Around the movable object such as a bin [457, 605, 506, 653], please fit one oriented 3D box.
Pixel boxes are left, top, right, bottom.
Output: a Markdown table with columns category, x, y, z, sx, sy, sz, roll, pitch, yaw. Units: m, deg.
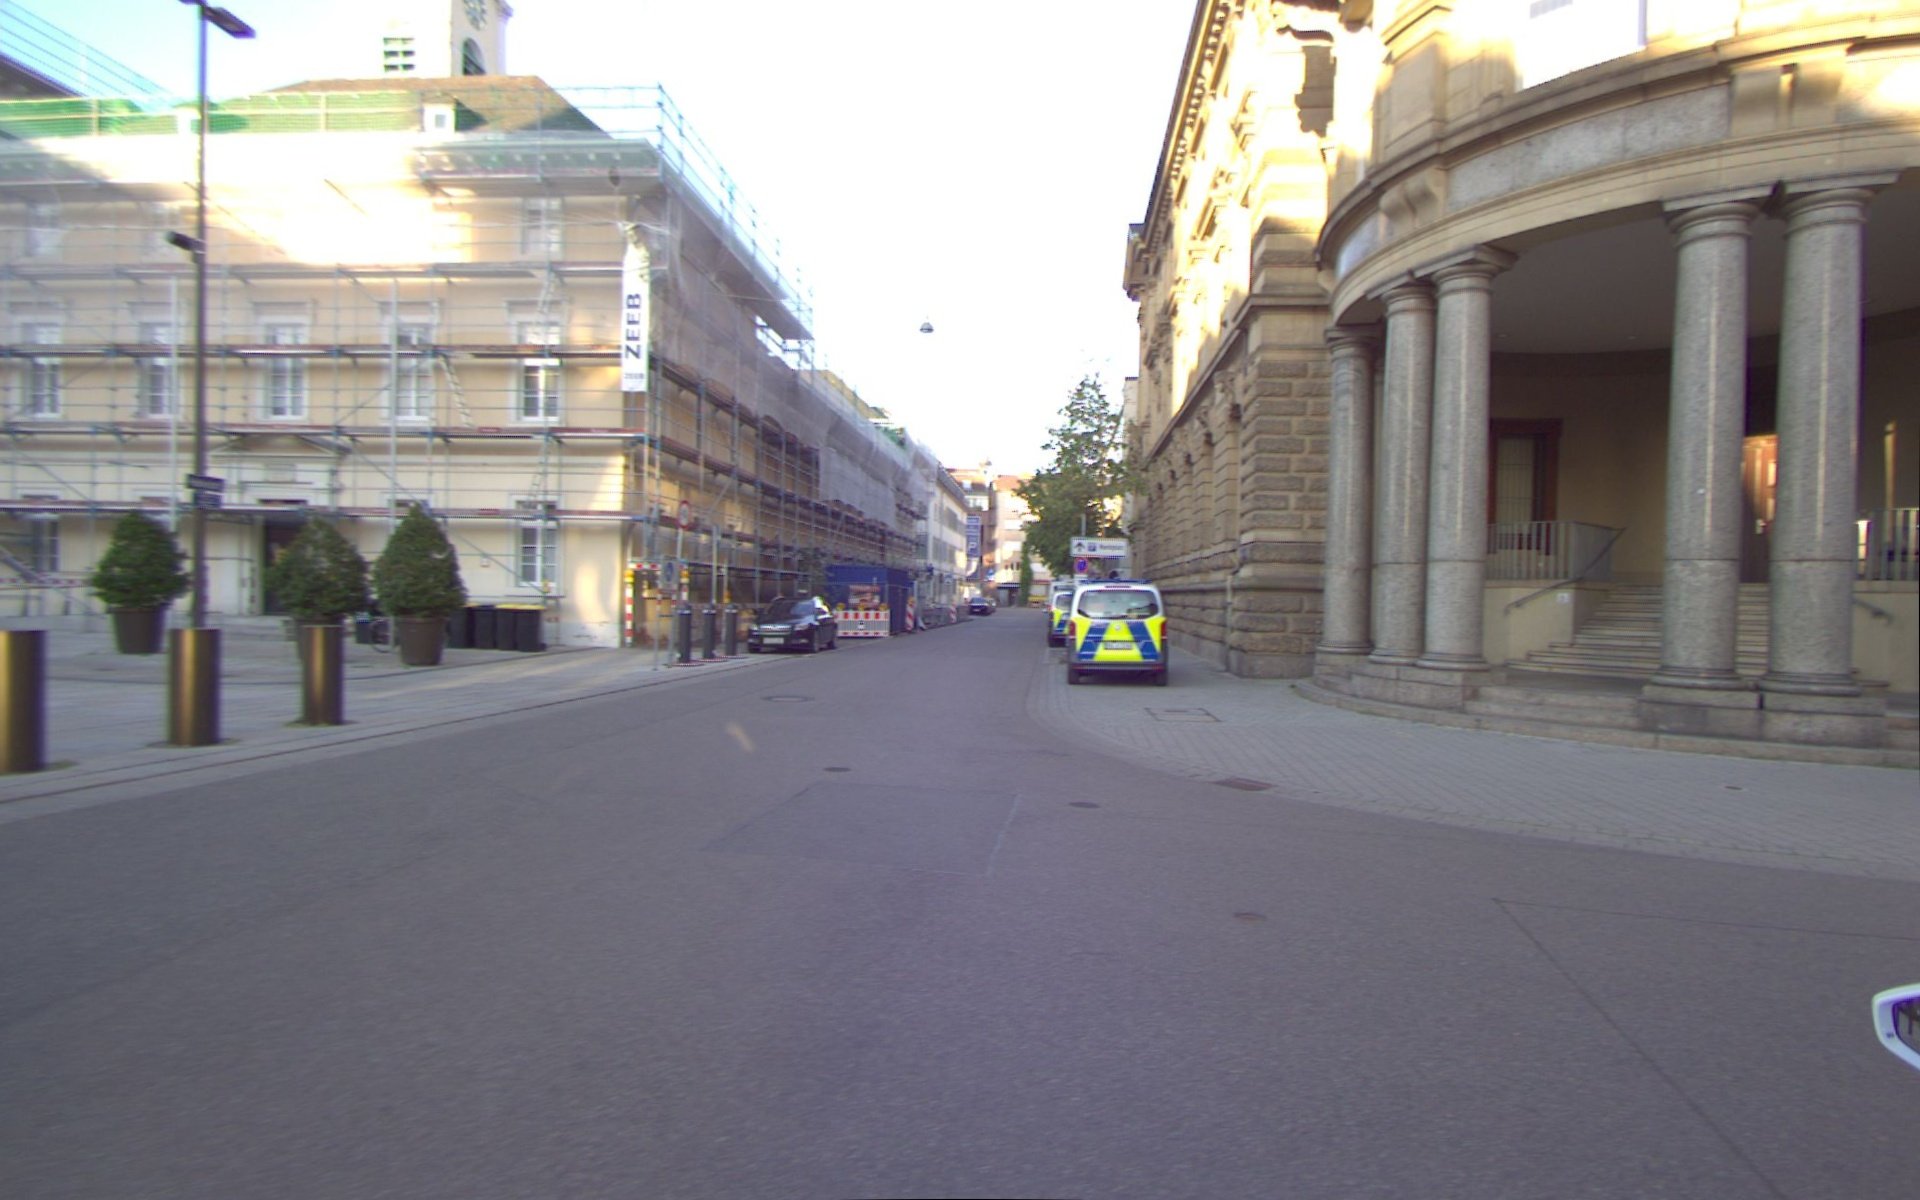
| category | x | y | z | sx | sy | sz | roll | pitch | yaw |
| --- | --- | --- | --- | --- | --- | --- | --- | --- | --- |
| movable object such as a bin | -11.368 | 0.684 | 23.887 | 0.707 | 1.092 | 0.812 | 1 | 0 | 9 |

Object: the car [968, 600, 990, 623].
| category | x | y | z | sx | sy | sz | roll | pitch | yaw |
| --- | --- | --- | --- | --- | --- | --- | --- | --- | --- |
| car | 1.765 | 1.030 | 93.682 | 1.961 | 1.996 | 4.000 | 1 | 0 | 0 |

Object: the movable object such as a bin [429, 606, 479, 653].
| category | x | y | z | sx | sy | sz | roll | pitch | yaw |
| --- | --- | --- | --- | --- | --- | --- | --- | --- | --- |
| movable object such as a bin | -12.093 | 0.696 | 24.024 | 0.707 | 1.092 | 0.812 | 1 | 0 | 9 |

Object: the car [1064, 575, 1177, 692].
| category | x | y | z | sx | sy | sz | roll | pitch | yaw |
| --- | --- | --- | --- | --- | --- | --- | --- | --- | --- |
| car | 3.189 | 0.584 | 19.755 | 1.959 | 2.040 | 4.002 | 1 | 0 | 10 |

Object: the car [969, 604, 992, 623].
| category | x | y | z | sx | sy | sz | roll | pitch | yaw |
| --- | --- | --- | --- | --- | --- | --- | --- | --- | --- |
| car | 1.793 | 1.189 | 89.509 | 1.960 | 1.627 | 4.086 | 2 | 0 | 1 |

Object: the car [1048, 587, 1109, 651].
| category | x | y | z | sx | sy | sz | roll | pitch | yaw |
| --- | --- | --- | --- | --- | --- | --- | --- | --- | --- |
| car | 4.111 | 0.617 | 34.924 | 1.959 | 2.040 | 4.002 | 1 | 0 | 7 |

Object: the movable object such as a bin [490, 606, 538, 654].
| category | x | y | z | sx | sy | sz | roll | pitch | yaw |
| --- | --- | --- | --- | --- | --- | --- | --- | --- | --- |
| movable object such as a bin | -10.564 | 0.701 | 23.819 | 0.707 | 1.092 | 0.812 | 1 | 0 | 9 |

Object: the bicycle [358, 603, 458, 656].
| category | x | y | z | sx | sy | sz | roll | pitch | yaw |
| --- | --- | --- | --- | --- | --- | --- | --- | --- | --- |
| bicycle | -12.231 | 0.654 | 22.288 | 1.820 | 1.126 | 0.633 | 1 | 0 | -13 |

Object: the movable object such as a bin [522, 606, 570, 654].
| category | x | y | z | sx | sy | sz | roll | pitch | yaw |
| --- | --- | --- | --- | --- | --- | --- | --- | --- | --- |
| movable object such as a bin | -9.748 | 0.699 | 23.674 | 0.707 | 1.092 | 0.812 | 1 | 0 | 9 |

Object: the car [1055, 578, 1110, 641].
| category | x | y | z | sx | sy | sz | roll | pitch | yaw |
| --- | --- | --- | --- | --- | --- | --- | --- | --- | --- |
| car | 5.178 | 0.375 | 42.547 | 2.183 | 2.478 | 4.002 | 1 | 0 | 7 |

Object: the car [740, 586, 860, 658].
| category | x | y | z | sx | sy | sz | roll | pitch | yaw |
| --- | --- | --- | --- | --- | --- | --- | --- | --- | --- |
| car | -4.237 | 0.562 | 27.258 | 1.959 | 1.759 | 4.002 | 1 | 0 | 10 |
